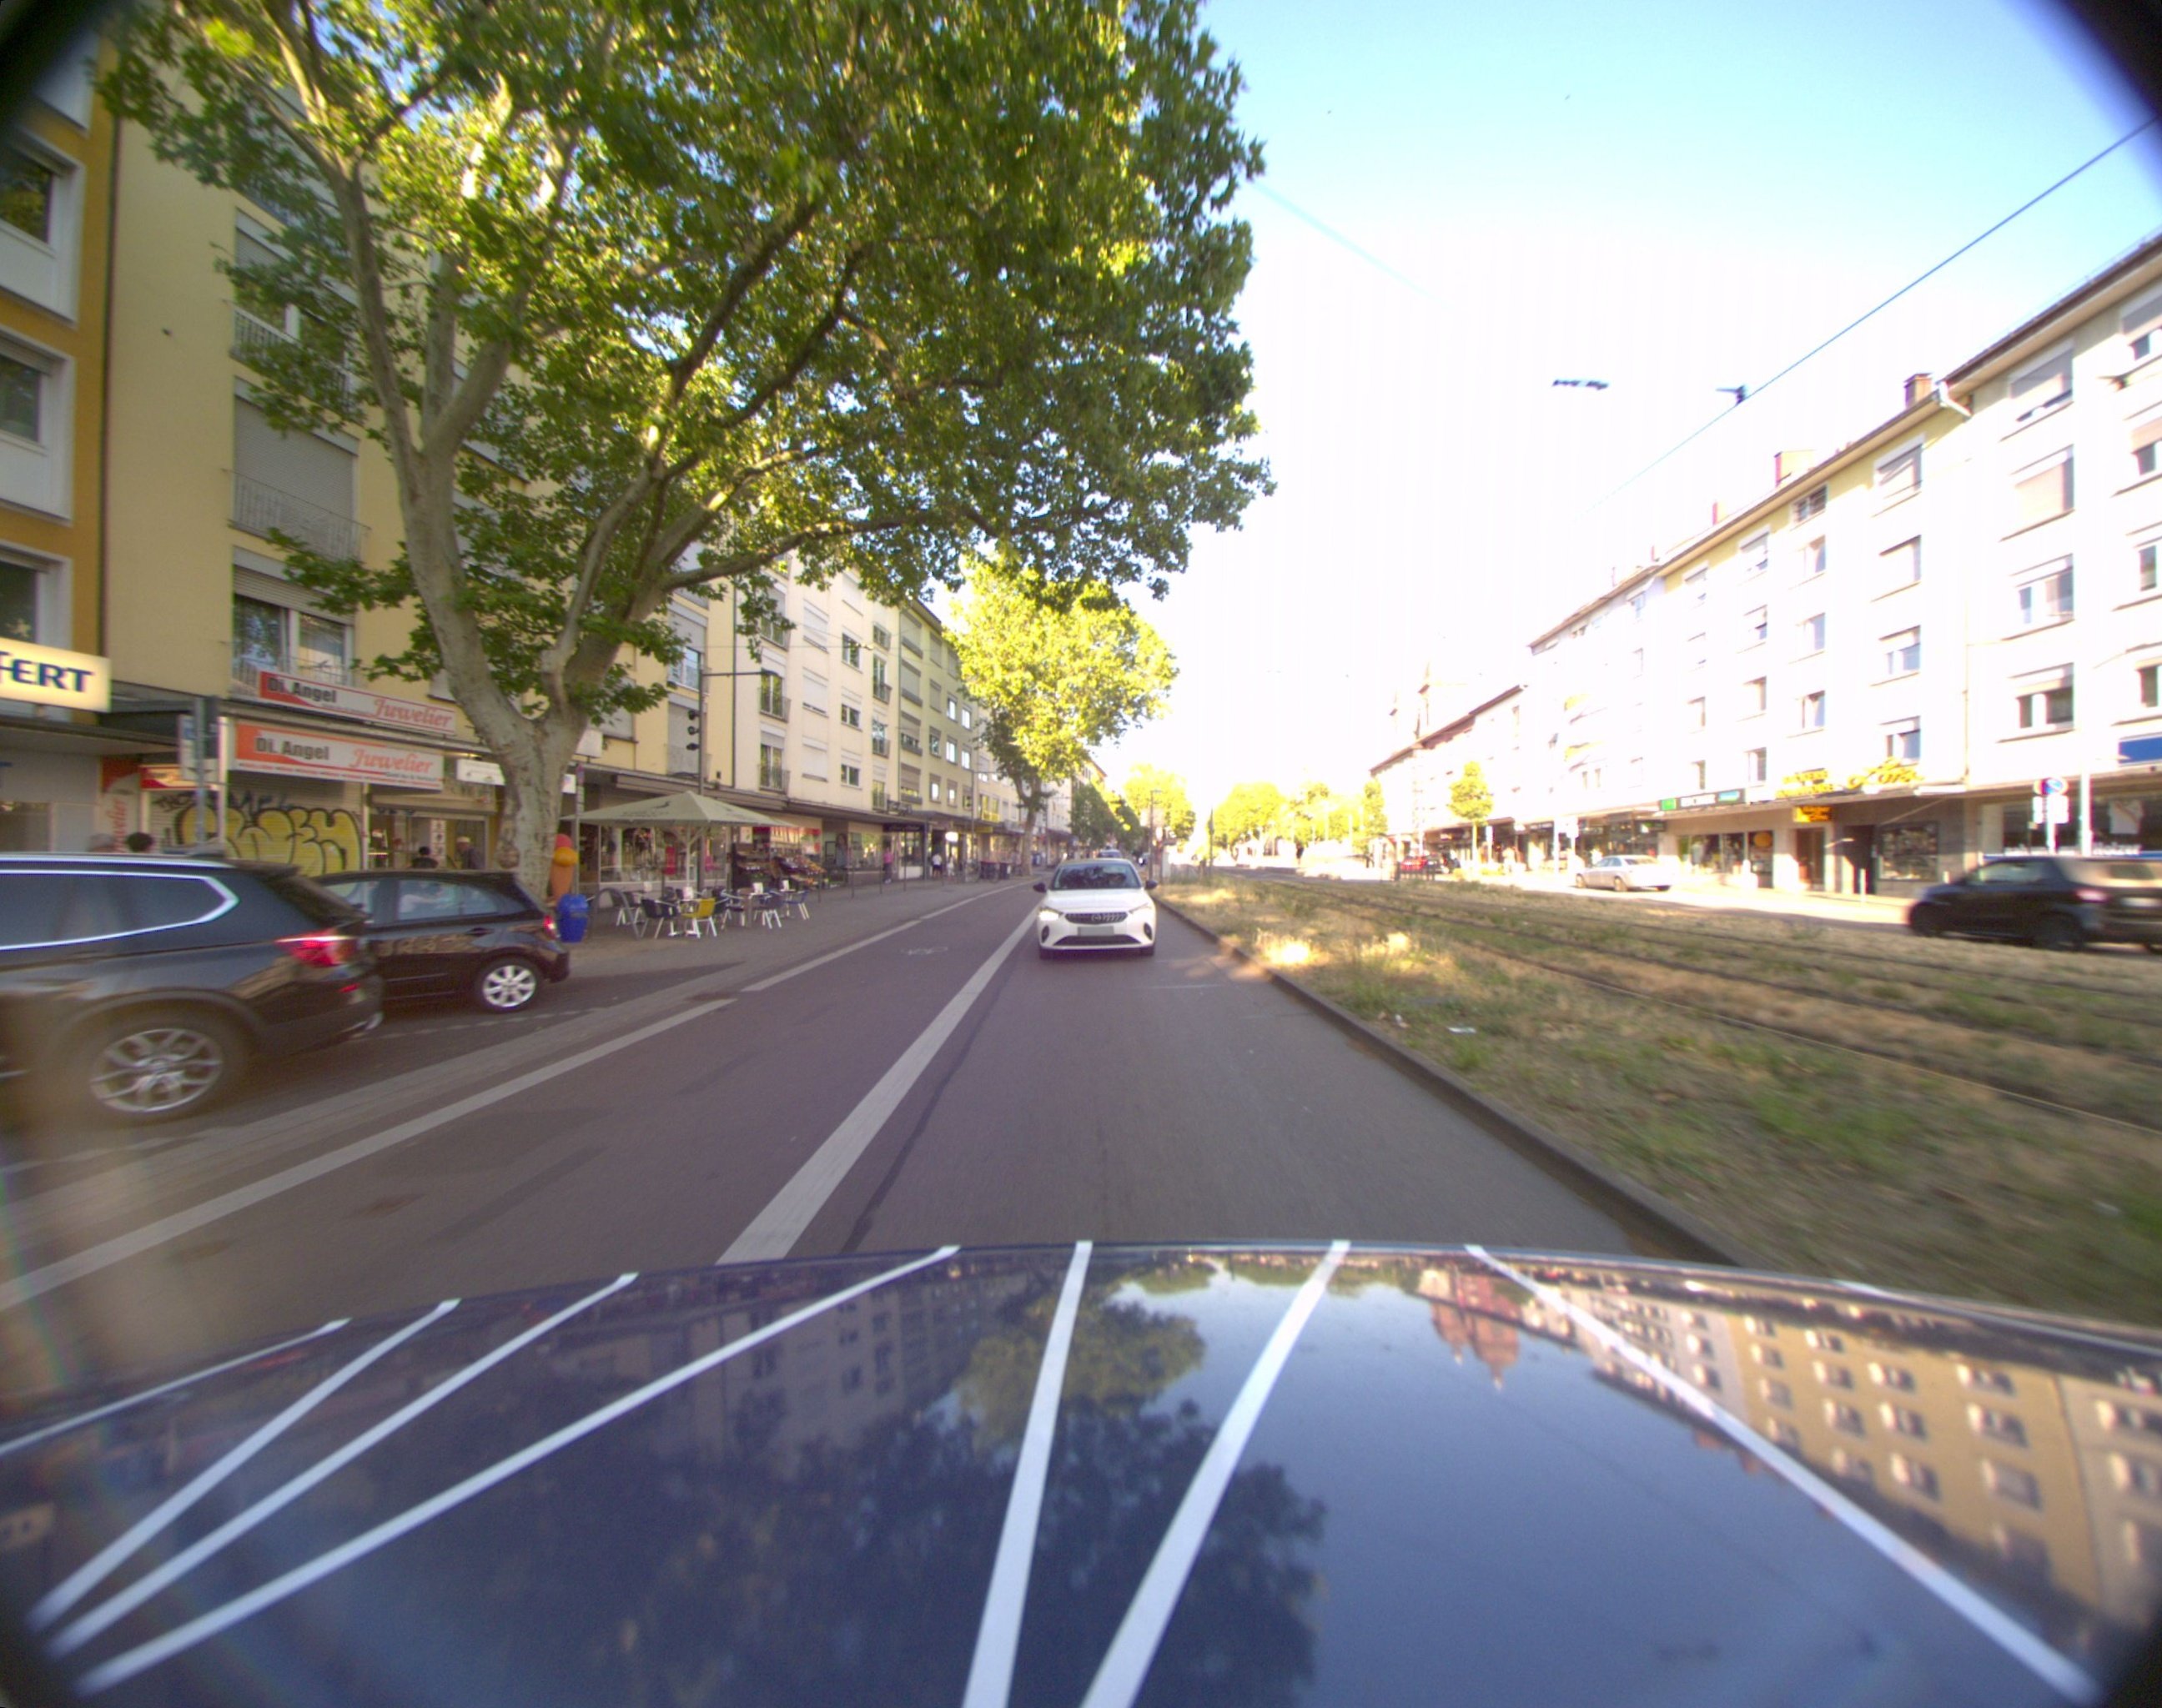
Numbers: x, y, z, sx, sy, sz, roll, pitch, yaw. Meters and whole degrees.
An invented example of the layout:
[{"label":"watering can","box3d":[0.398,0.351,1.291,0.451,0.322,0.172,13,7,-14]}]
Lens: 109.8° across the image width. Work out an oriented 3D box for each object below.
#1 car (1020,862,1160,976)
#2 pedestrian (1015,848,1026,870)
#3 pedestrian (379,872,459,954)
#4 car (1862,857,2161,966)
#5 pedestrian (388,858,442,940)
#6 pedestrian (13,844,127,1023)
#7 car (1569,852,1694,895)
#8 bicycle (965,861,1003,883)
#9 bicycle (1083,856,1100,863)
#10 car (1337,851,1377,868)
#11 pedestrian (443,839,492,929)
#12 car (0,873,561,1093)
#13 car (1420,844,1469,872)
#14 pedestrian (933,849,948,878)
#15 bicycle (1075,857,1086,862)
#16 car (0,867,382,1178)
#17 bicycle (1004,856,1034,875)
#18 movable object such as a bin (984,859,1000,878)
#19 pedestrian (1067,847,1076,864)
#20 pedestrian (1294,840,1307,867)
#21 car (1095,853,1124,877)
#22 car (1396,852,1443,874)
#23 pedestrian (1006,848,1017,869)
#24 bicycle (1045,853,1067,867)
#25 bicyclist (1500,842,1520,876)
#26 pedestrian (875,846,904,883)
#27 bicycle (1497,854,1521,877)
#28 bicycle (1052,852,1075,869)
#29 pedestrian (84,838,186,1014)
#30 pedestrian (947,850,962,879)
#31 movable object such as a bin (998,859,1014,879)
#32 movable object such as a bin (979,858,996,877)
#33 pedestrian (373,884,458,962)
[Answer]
[{"label":"car","box3d":[0.138,0.896,12.091,1.826,1.433,3.828,-2,0,1]},{"label":"pedestrian","box3d":[-4.466,0.355,56.058,0.547,1.619,0.896,2,0,8]},{"label":"pedestrian","box3d":[-10.861,0.944,12.494,0.584,1.267,0.759,-2,1,1]},{"label":"car","box3d":[15.668,0.854,12.661,1.726,1.500,3.476,2,1,1]},{"label":"pedestrian","box3d":[-13.149,0.862,15.004,0.625,1.538,0.638,4,3,31]},{"label":"pedestrian","box3d":[-10.638,0.808,8.015,0.518,1.822,0.474,-1,1,-21]},{"label":"car","box3d":[21.782,0.718,30.326,1.998,1.469,4.412,-2,0,5]},{"label":"bicycle","box3d":[-5.155,0.943,40.492,1.909,1.098,0.519,2,1,14]},{"label":"bicycle","box3d":[1.230,0.670,86.861,1.762,0.773,0.702,1,0,-15]},{"label":"car","box3d":[28.015,0.567,77.008,4.007,1.521,1.865,-2,1,-37]},{"label":"pedestrian","box3d":[-12.699,0.602,15.727,0.635,1.793,0.628,1,1,36]},{"label":"car","box3d":[-7.389,1.012,7.448,3.615,1.531,1.737,-1,1,-40]},{"label":"car","box3d":[25.612,0.261,53.527,3.777,1.789,1.859,-3,1,-44]},{"label":"pedestrian","box3d":[-7.704,0.526,41.766,0.623,1.577,0.627,2,1,6]},{"label":"bicycle","box3d":[-0.025,0.673,87.057,0.840,0.569,1.758,1,0,-14]},{"label":"car","box3d":[-7.046,0.963,4.506,4.159,1.671,1.804,-1,1,-40]},{"label":"bicycle","box3d":[-3.795,0.708,46.751,1.721,1.111,0.745,0,4,8]},{"label":"movable object such as a bin","box3d":[-5.218,0.841,44.488,0.723,1.066,0.644,6,2,5]},{"label":"pedestrian","box3d":[-1.014,0.160,83.119,0.774,1.789,0.931,3,1,9]},{"label":"pedestrian","box3d":[15.020,-0.057,52.076,0.743,1.838,0.590,0,1,2]},{"label":"car","box3d":[1.855,0.663,48.260,1.718,1.390,4.001,-2,0,4]},{"label":"car","box3d":[25.187,0.653,56.452,3.777,1.482,1.859,-3,1,-44]},{"label":"pedestrian","box3d":[-5.155,0.353,56.356,0.541,1.493,0.896,2,0,8]},{"label":"bicycle","box3d":[-2.214,0.508,67.026,1.795,1.118,0.663,4,1,-19]},{"label":"bicyclist","box3d":[24.997,0.297,44.300,0.693,1.876,1.058,-4,2,17]},{"label":"pedestrian","box3d":[-9.322,0.480,37.001,0.969,1.753,1.134,1,2,8]},{"label":"bicycle","box3d":[25.099,0.678,44.568,0.706,1.152,2.200,-4,2,16]},{"label":"bicycle","box3d":[-1.514,0.526,65.576,1.788,1.304,0.695,6,2,20]},{"label":"pedestrian","box3d":[-10.130,0.738,8.152,0.518,1.822,0.474,-1,1,-30]},{"label":"pedestrian","box3d":[-6.966,0.588,41.782,0.636,1.577,0.627,2,1,6]},{"label":"movable object such as a bin","box3d":[-4.391,0.853,44.404,0.723,1.096,0.645,4,2,14]},{"label":"movable object such as a bin","box3d":[-5.548,0.807,45.221,0.722,1.066,0.645,2,2,26]},{"label":"pedestrian","box3d":[-10.272,1.051,11.749,0.584,1.109,0.751,-2,1,1]}]
